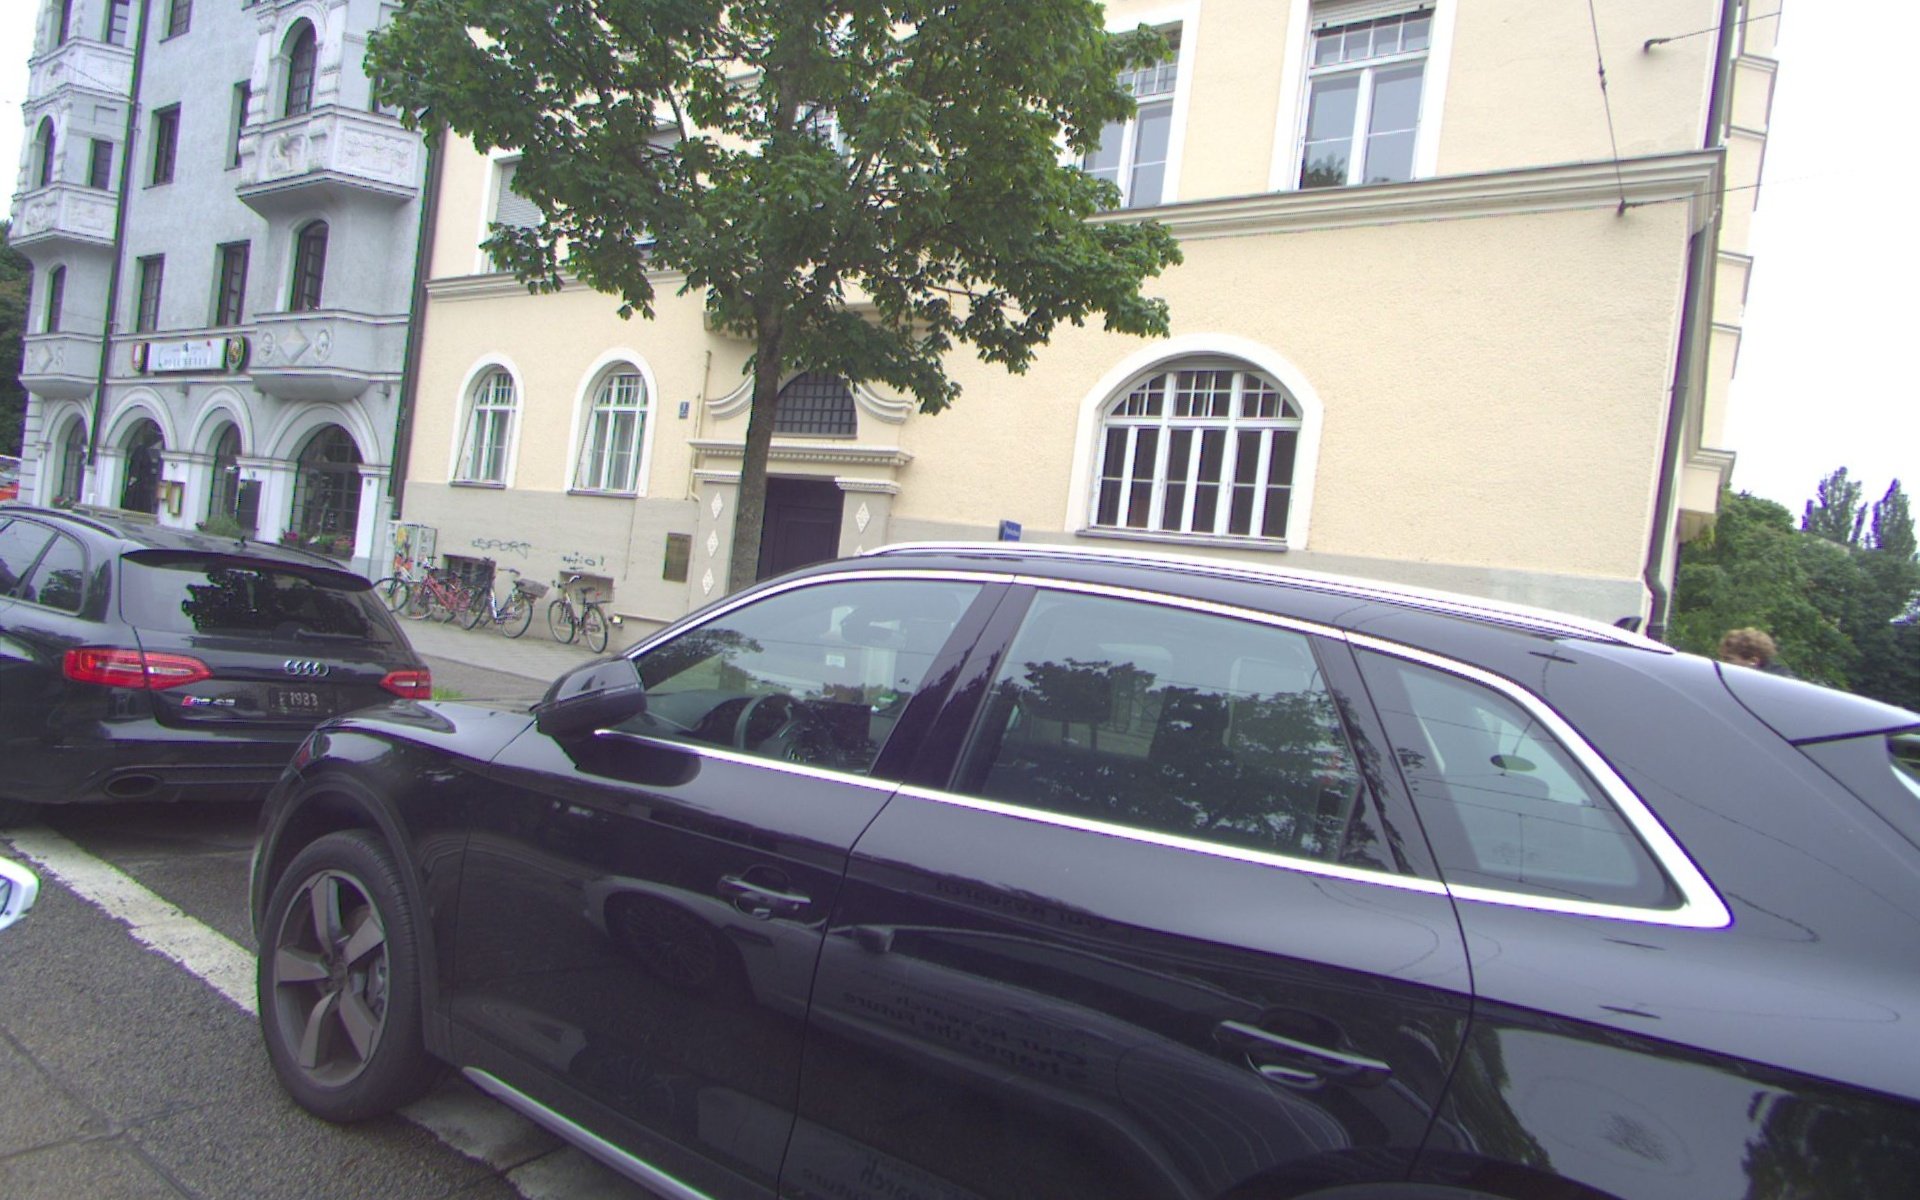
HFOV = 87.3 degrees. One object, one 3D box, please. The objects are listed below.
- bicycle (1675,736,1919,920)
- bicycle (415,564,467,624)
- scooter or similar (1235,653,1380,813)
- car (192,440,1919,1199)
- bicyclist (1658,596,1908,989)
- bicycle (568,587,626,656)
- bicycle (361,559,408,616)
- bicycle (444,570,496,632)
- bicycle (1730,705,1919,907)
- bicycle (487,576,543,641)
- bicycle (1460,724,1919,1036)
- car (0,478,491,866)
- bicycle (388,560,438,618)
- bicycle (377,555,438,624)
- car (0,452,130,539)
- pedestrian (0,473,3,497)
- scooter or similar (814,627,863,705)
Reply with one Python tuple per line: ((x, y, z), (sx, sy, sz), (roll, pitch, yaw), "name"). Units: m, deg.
((6.539, 1.743, 7.861), (1.417, 1.119, 0.287), (7, 0, 24), "bicycle")
((-9.039, -0.102, 17.522), (0.871, 0.941, 0.306), (7, -1, 34), "bicycle")
((3.301, 1.240, 9.592), (1.123, 1.328, 0.262), (7, -1, 32), "scooter or similar")
((0.162, 0.669, 2.532), (4.414, 1.677, 1.777), (7, -2, 32), "car")
((4.136, 0.922, 5.127), (0.714, 1.749, 0.726), (7, -1, 31), "bicyclist")
((-5.501, 0.325, 15.235), (0.871, 0.941, 0.222), (7, -1, 31), "bicycle")
((-10.605, -0.234, 18.532), (0.871, 0.941, 0.259), (7, -1, 33), "bicycle")
((-8.268, 0.010, 16.967), (0.871, 0.941, 0.273), (7, -1, 33), "bicycle")
((6.957, 1.588, 7.718), (1.511, 1.327, 0.332), (7, -1, 30), "bicycle")
((-7.187, 0.127, 16.225), (0.871, 0.941, 0.285), (7, -1, 33), "bicycle")
((3.769, 1.369, 5.313), (1.880, 1.093, 0.579), (7, 2, 31), "bicycle")
((-4.907, 0.149, 5.714), (4.525, 1.442, 1.720), (7, -2, 31), "car")
((-9.819, -0.195, 18.048), (0.871, 0.941, 0.291), (7, -1, 33), "bicycle")
((-9.547, -0.186, 17.380), (1.203, 1.051, 0.242), (7, -1, 32), "bicycle")
((-36.432, -4.197, 39.493), (2.192, 2.642, 5.311), (7, -2, 29), "car")
((-27.761, -2.792, 28.421), (0.829, 1.752, 0.706), (7, -1, 32), "pedestrian")
((-1.531, 0.835, 12.724), (0.413, 0.921, 0.348), (8, -1, 11), "scooter or similar")
